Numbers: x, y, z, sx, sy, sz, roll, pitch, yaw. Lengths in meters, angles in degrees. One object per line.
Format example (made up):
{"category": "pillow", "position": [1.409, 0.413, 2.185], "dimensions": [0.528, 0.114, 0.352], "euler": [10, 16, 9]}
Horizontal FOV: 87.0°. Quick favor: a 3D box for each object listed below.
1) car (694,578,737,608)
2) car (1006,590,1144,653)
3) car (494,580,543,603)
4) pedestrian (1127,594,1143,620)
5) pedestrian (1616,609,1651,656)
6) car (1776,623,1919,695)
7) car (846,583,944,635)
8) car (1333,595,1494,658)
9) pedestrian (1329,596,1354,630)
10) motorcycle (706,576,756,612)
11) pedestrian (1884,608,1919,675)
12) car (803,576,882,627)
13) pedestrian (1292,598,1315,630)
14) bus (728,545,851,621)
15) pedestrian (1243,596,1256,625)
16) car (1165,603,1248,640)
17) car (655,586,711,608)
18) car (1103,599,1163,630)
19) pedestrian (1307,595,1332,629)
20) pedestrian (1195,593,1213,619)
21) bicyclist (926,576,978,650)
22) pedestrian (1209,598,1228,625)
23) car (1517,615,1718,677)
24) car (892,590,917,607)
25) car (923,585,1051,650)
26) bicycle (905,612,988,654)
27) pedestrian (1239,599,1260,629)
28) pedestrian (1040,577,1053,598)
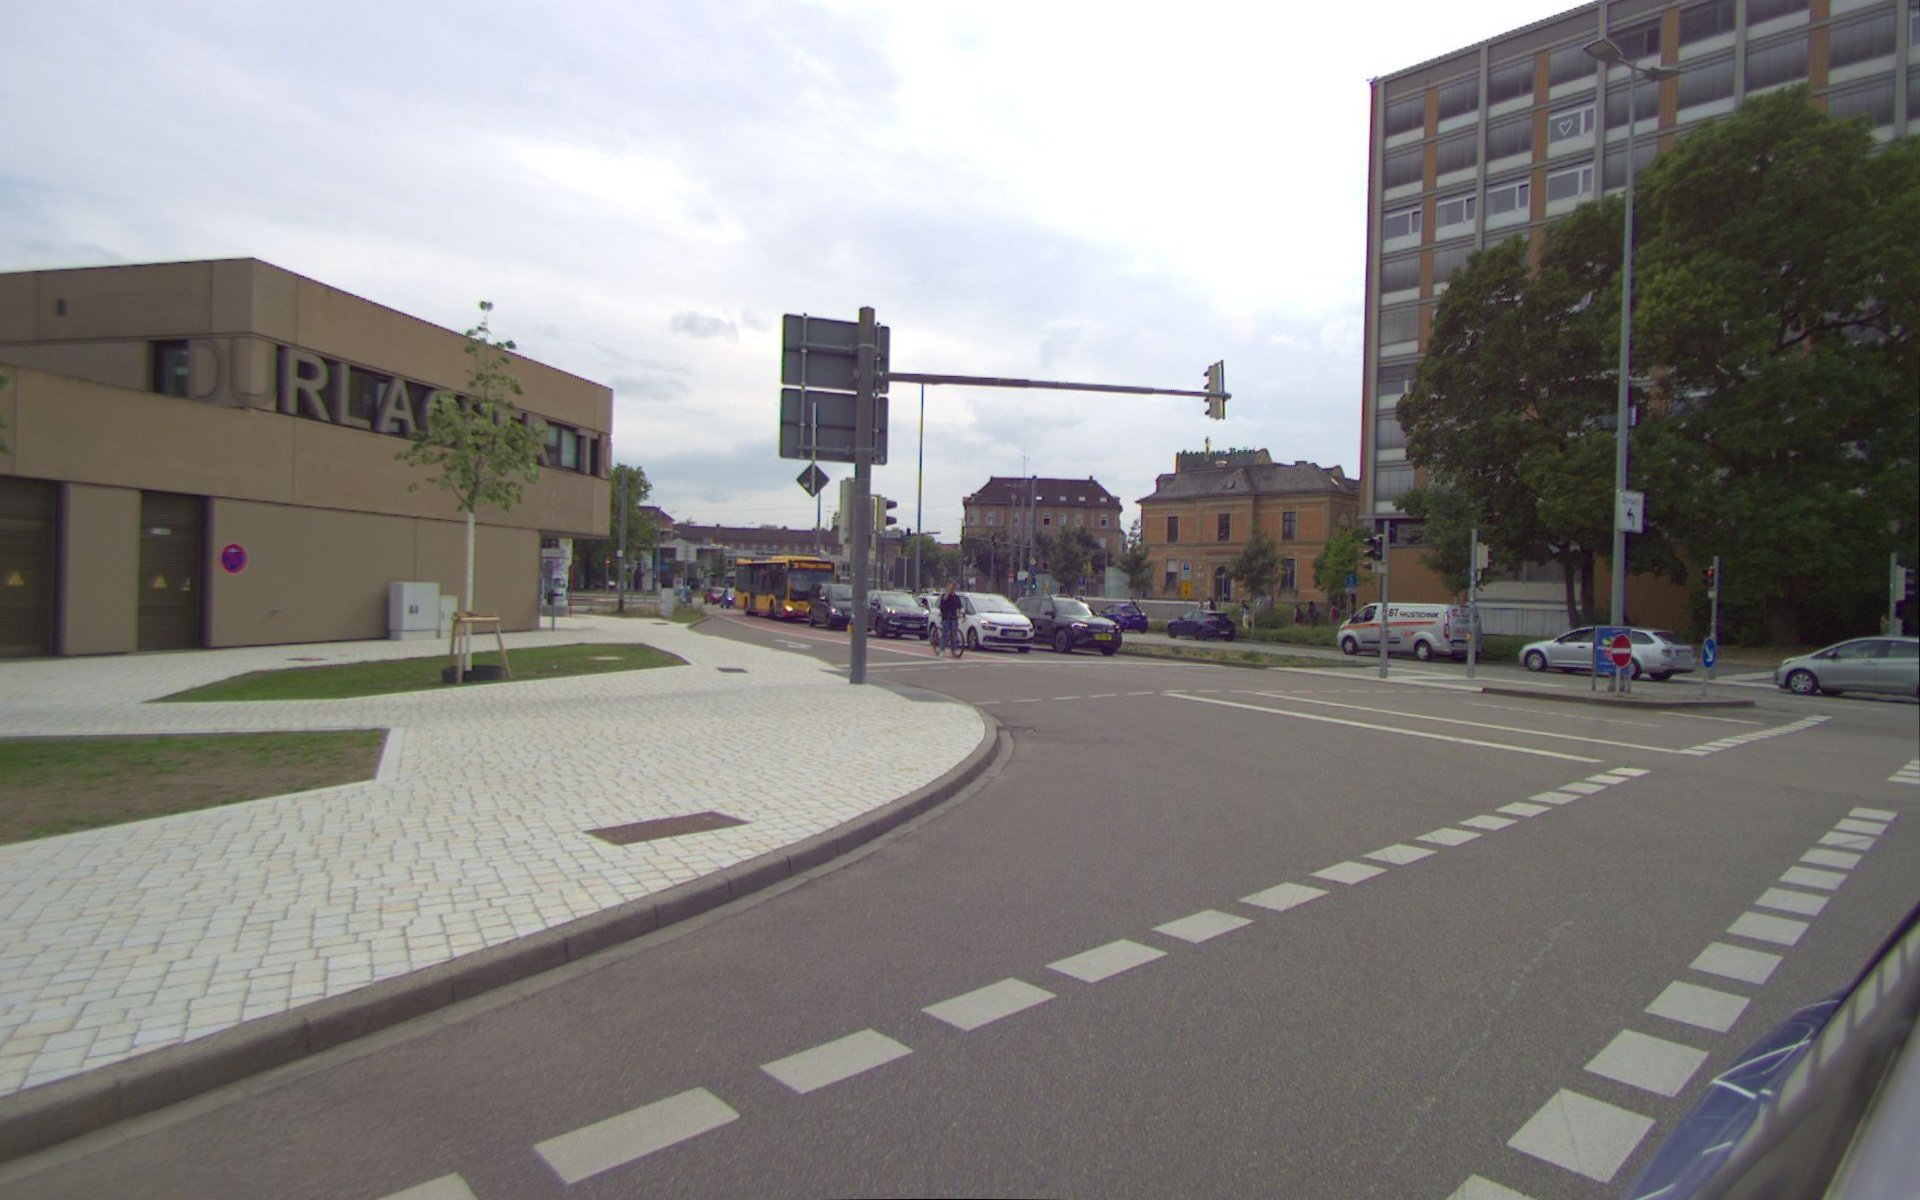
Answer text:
{"category": "car", "position": [-16.645, -0.476, 68.692], "dimensions": [1.958, 1.923, 4.298], "euler": [3, -1, -25]}
{"category": "car", "position": [3.332, 0.602, 30.251], "dimensions": [1.958, 1.672, 4.520], "euler": [3, -1, -25]}
{"category": "car", "position": [-40.194, -0.754, 92.153], "dimensions": [3.917, 1.906, 2.003], "euler": [3, -1, -26]}
{"category": "pedestrian", "position": [10.988, 0.426, 63.590], "dimensions": [0.764, 1.593, 0.814], "euler": [0, 1, -13]}
{"category": "pedestrian", "position": [23.804, 1.136, 35.749], "dimensions": [0.766, 1.593, 0.812], "euler": [0, 1, -36]}
{"category": "car", "position": [21.653, 1.387, 23.489], "dimensions": [1.637, 1.508, 3.881], "euler": [3, -1, -27]}
{"category": "car", "position": [-2.373, 0.295, 35.869], "dimensions": [1.958, 1.672, 4.298], "euler": [3, -1, -25]}
{"category": "car", "position": [15.870, 0.888, 35.758], "dimensions": [1.787, 1.984, 5.214], "euler": [3, -1, -25]}
{"category": "pedestrian", "position": [18.514, 0.628, 49.149], "dimensions": [0.764, 1.593, 0.814], "euler": [0, 1, -17]}
{"category": "motorcycle", "position": [-13.951, -0.358, 61.573], "dimensions": [1.959, 2.039, 4.006], "euler": [3, -1, -27]}
{"category": "pedestrian", "position": [26.942, 1.171, 28.890], "dimensions": [0.628, 1.876, 0.708], "euler": [1, 0, -36]}
{"category": "car", "position": [-4.932, 0.046, 41.967], "dimensions": [1.958, 1.923, 4.298], "euler": [3, -1, -25]}
{"category": "pedestrian", "position": [17.327, 0.682, 51.068], "dimensions": [0.764, 1.593, 0.814], "euler": [0, 1, -13]}
{"category": "bus", "position": [-8.979, -0.809, 51.466], "dimensions": [3.092, 3.296, 12.436], "euler": [3, -1, -23]}
{"category": "pedestrian", "position": [15.685, 0.542, 54.843], "dimensions": [0.546, 1.556, 0.543], "euler": [1, 1, 31]}
{"category": "car", "position": [11.500, 0.994, 47.529], "dimensions": [1.824, 1.552, 4.010], "euler": [3, -1, -20]}
{"category": "car", "position": [-22.792, -0.274, 83.356], "dimensions": [3.956, 1.594, 1.997], "euler": [3, -1, -41]}
{"category": "car", "position": [9.201, 0.747, 54.087], "dimensions": [1.636, 1.527, 3.642], "euler": [3, -1, -17]}
{"category": "pedestrian", "position": [17.293, 0.563, 48.716], "dimensions": [0.764, 1.593, 0.814], "euler": [0, 1, -17]}
{"category": "pedestrian", "position": [15.135, 0.343, 62.845], "dimensions": [0.764, 1.593, 0.814], "euler": [0, 1, -13]}
{"category": "bicyclist", "position": [-0.190, 0.297, 23.945], "dimensions": [0.852, 1.690, 0.882], "euler": [3, -1, -30]}
{"category": "pedestrian", "position": [15.044, 0.662, 58.984], "dimensions": [0.764, 1.593, 0.814], "euler": [0, 1, -13]}
{"category": "car", "position": [18.789, 1.274, 29.149], "dimensions": [1.788, 1.493, 4.535], "euler": [3, -1, -28]}
{"category": "car", "position": [-5.653, -0.116, 102.912], "dimensions": [1.802, 1.635, 3.553], "euler": [3, -1, -15]}
{"category": "car", "position": [0.698, 0.463, 29.481], "dimensions": [1.958, 1.672, 4.298], "euler": [3, -1, -25]}
{"category": "bicycle", "position": [-0.365, 0.774, 24.224], "dimensions": [0.847, 0.888, 2.522], "euler": [3, -1, -29]}
{"category": "pedestrian", "position": [15.660, 0.734, 54.808], "dimensions": [0.764, 1.593, 0.814], "euler": [0, 1, -13]}
{"category": "pedestrian", "position": [6.569, -0.958, 76.536], "dimensions": [0.764, 1.593, 0.814], "euler": [0, 1, -13]}
